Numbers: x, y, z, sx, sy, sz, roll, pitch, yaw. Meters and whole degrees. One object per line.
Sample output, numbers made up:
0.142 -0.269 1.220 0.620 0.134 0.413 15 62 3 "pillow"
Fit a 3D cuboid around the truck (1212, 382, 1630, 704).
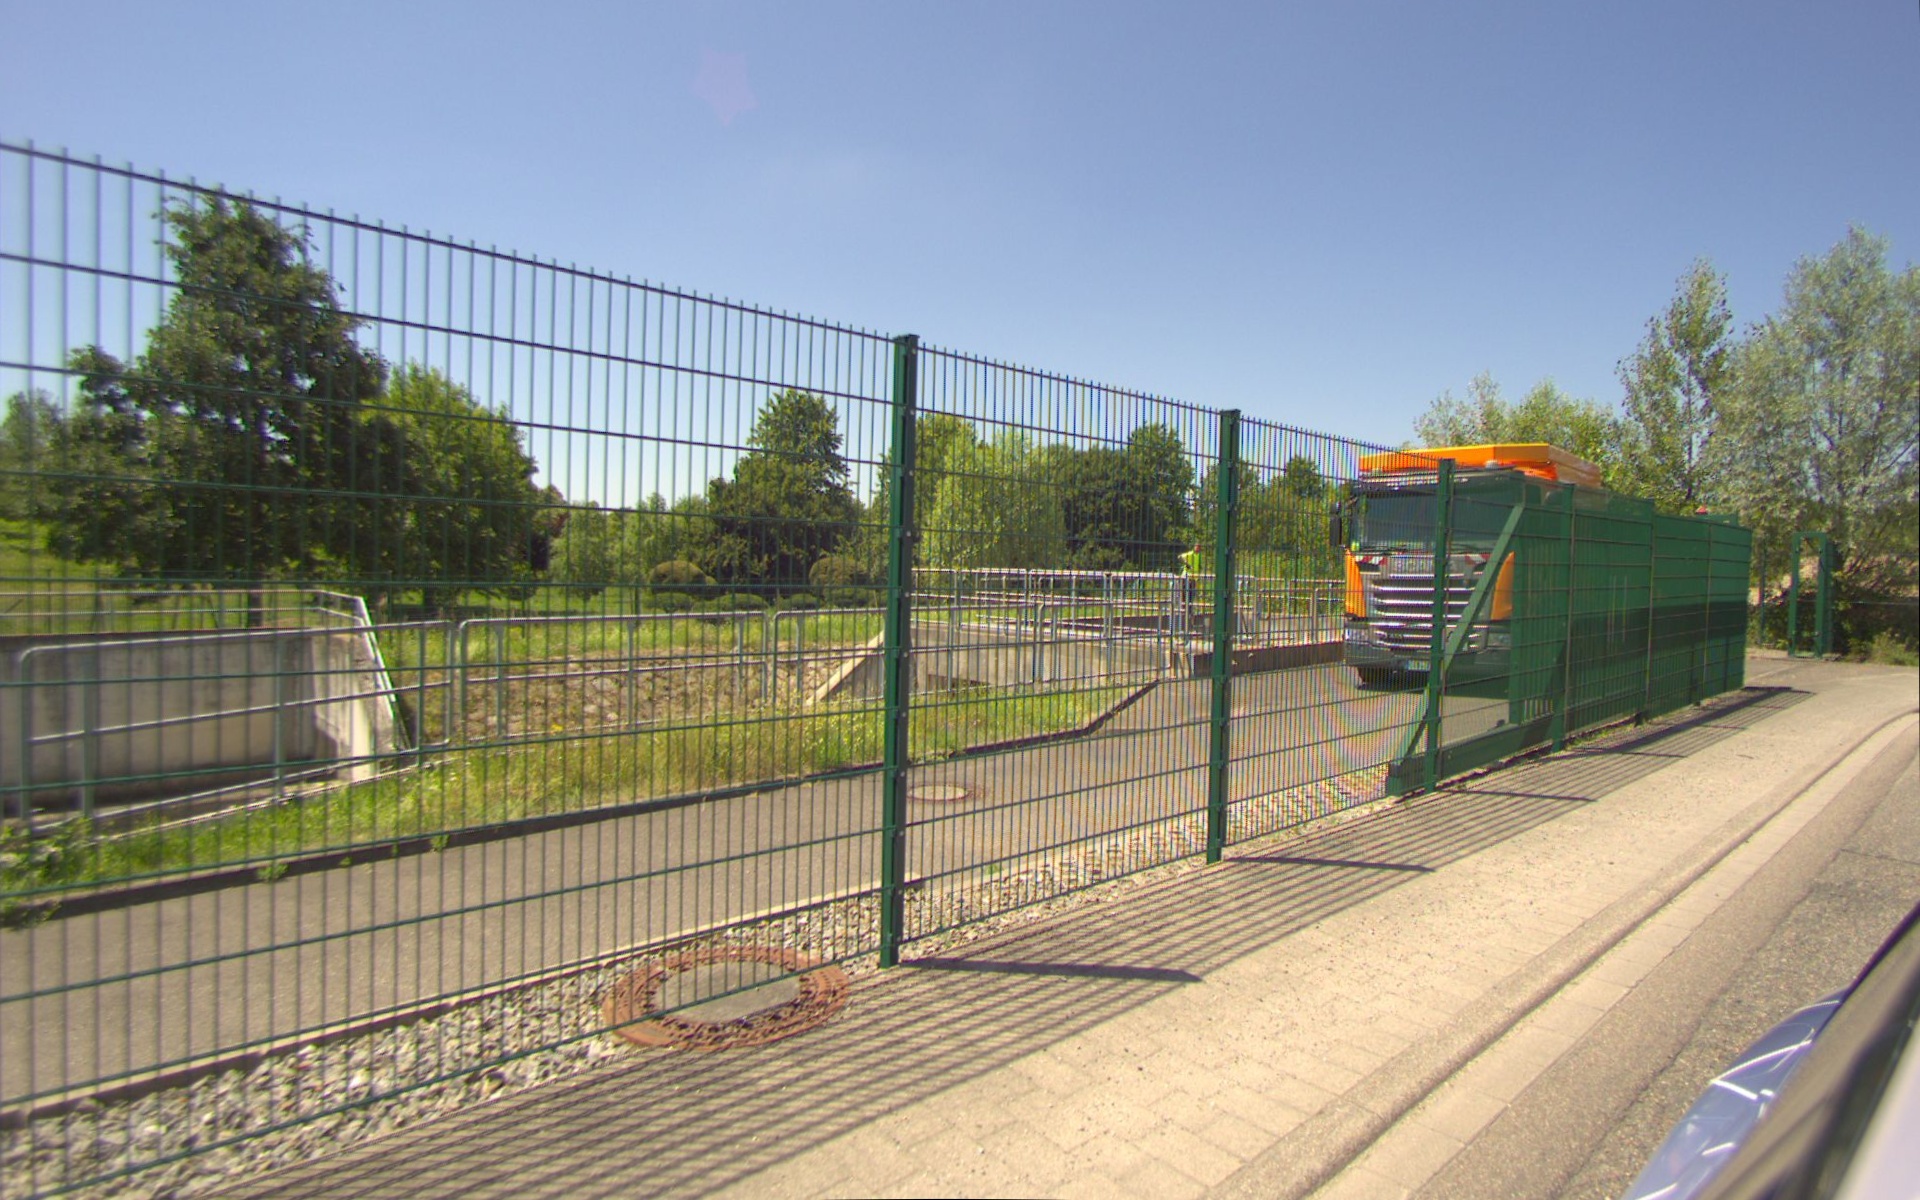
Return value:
8.016 -0.894 16.747 4.146 3.852 8.490 3 4 40 "truck"
